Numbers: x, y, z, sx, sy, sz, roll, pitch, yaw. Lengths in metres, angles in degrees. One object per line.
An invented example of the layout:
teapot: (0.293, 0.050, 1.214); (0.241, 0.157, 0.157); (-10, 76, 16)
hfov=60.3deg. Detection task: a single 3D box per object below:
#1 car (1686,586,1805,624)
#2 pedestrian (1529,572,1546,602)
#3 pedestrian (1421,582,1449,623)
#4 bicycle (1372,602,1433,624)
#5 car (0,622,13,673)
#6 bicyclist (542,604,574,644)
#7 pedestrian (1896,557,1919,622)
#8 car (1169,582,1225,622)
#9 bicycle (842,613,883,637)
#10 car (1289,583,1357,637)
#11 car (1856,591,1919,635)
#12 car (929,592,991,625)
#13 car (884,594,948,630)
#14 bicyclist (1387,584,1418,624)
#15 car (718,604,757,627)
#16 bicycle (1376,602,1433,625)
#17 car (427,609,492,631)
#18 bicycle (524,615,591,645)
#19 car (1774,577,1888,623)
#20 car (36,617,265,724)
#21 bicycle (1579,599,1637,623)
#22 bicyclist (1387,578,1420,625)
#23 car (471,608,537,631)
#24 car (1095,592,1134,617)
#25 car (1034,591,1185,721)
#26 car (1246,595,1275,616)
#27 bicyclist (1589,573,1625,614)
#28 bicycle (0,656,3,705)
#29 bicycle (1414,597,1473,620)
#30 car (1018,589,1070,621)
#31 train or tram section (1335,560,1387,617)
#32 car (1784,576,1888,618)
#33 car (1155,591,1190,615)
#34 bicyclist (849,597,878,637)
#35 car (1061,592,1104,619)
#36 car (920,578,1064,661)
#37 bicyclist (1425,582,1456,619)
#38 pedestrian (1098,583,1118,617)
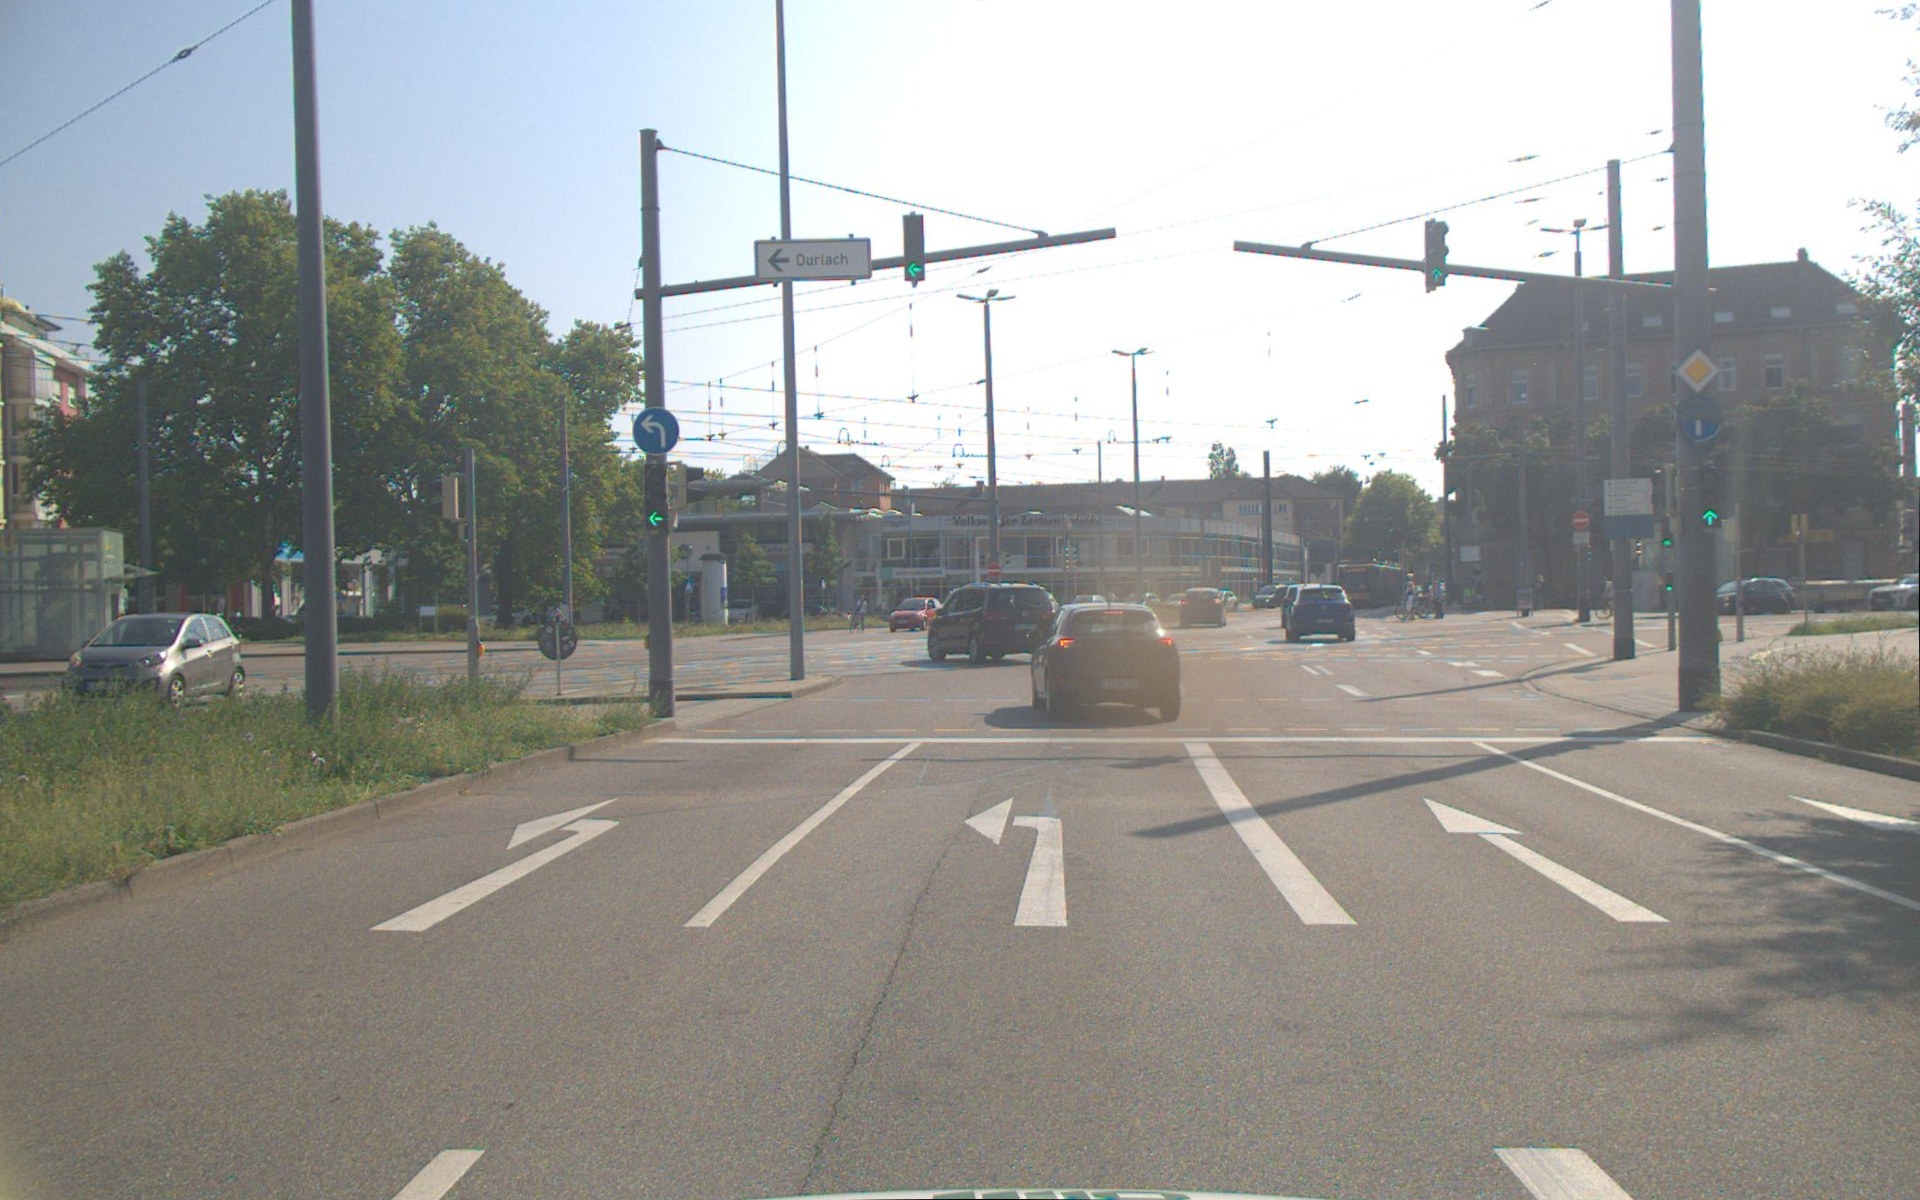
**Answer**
car: (31.369, 0.179, 66.072); (4.317, 1.421, 2.008); (-1, 0, -25)
pedestrian: (28.912, -0.667, 82.766); (0.662, 1.496, 0.538); (-1, 0, -41)
pedestrian: (21.870, 0.120, 76.196); (0.918, 1.828, 0.848); (-1, 0, -38)
bicycle: (20.681, 0.606, 77.316); (2.580, 0.981, 1.086); (-1, 0, -21)
car: (-31.841, 1.524, 50.944); (4.334, 1.562, 1.820); (-2, 0, -21)
bicyclist: (-16.083, 0.950, 66.243); (1.142, 1.554, 0.958); (-3, 0, -12)
pedestrian: (25.759, -0.287, 44.439); (0.905, 1.719, 0.833); (-1, 0, 40)
car: (9.979, 0.047, 69.355); (1.786, 1.562, 4.416); (-1, 0, 15)
bicycle: (-4.471, 1.143, 76.058); (0.938, 1.075, 2.609); (-1, 0, 19)
car: (10.388, 0.256, 47.452); (1.786, 1.453, 4.416); (-1, 0, 12)
car: (42.608, 0.534, 74.097); (4.590, 1.891, 2.029); (-1, 0, -25)
car: (0.032, 0.431, 82.501); (1.919, 1.501, 4.002); (-3, -1, 18)
car: (-1.962, 0.505, 75.099); (1.580, 1.501, 4.002); (-3, -1, 18)
bicyclist: (20.658, 0.178, 77.308); (0.920, 1.831, 1.086); (-1, 0, -20)
car: (-15.498, 1.046, 115.190); (1.663, 1.549, 4.103); (-1, 0, 7)
bicycle: (20.170, 0.621, 75.065); (2.596, 0.981, 1.080); (-1, 0, -35)
car: (-36.410, 1.444, 120.517); (1.670, 1.549, 4.500); (-1, 0, 34)
bicycle: (-16.102, 1.198, 66.239); (2.554, 1.075, 0.958); (-2, 0, -12)
car: (37.827, -0.002, 71.851); (4.630, 1.891, 1.897); (-1, 0, -23)
car: (-12.632, 1.047, 26.073); (1.850, 1.477, 3.674); (-1, 0, -1)
bicycle: (27.995, 0.466, 71.462); (2.595, 0.981, 1.080); (-1, -1, -35)
bicyclist: (20.121, 0.068, 75.043); (0.926, 2.059, 1.080); (-1, 0, -34)
car: (-32.311, 1.362, 117.316); (1.670, 1.549, 4.500); (-1, 0, 34)
car: (10.075, 0.253, 107.539); (1.580, 1.501, 4.001); (-3, -1, 19)
car: (1.912, 0.669, 22.225); (1.648, 1.518, 4.372); (2, 0, 1)
car: (23.483, 0.414, 129.301); (1.580, 1.501, 4.001); (-3, -1, 19)
bicyclist: (27.940, -0.282, 71.423); (0.926, 1.738, 1.080); (-1, 0, -34)
bicycle: (-19.374, 1.573, 31.528); (1.779, 0.948, 0.725); (-1, 0, -8)
bicycle: (23.027, 0.400, 78.759); (2.580, 0.981, 1.086); (-1, 0, -21)
car: (4.332, 0.255, 84.712); (1.580, 1.501, 4.002); (-3, -1, 18)
train or tram section: (28.407, -0.840, 116.864); (2.599, 3.763, 10.594); (-1, 0, 18)
car: (41.823, -0.141, 79.002); (4.188, 1.891, 1.924); (-1, 0, -15)
car: (14.790, 0.197, 115.066); (1.580, 1.501, 4.001); (-3, -1, 19)
bicyclist: (-4.460, 0.772, 76.104); (0.938, 1.779, 1.167); (-1, 0, 19)
car: (7.474, 0.318, 100.615); (1.580, 1.501, 4.001); (-3, -1, 19)
car: (0.652, 0.406, 37.560); (1.799, 1.744, 4.385); (-1, 0, -20)
bicyclist: (22.843, 0.031, 78.684); (0.920, 1.709, 1.086); (-1, 0, -20)
pedestrian: (6.732, -0.010, 75.282); (0.761, 1.529, 0.710); (-1, 0, 19)
